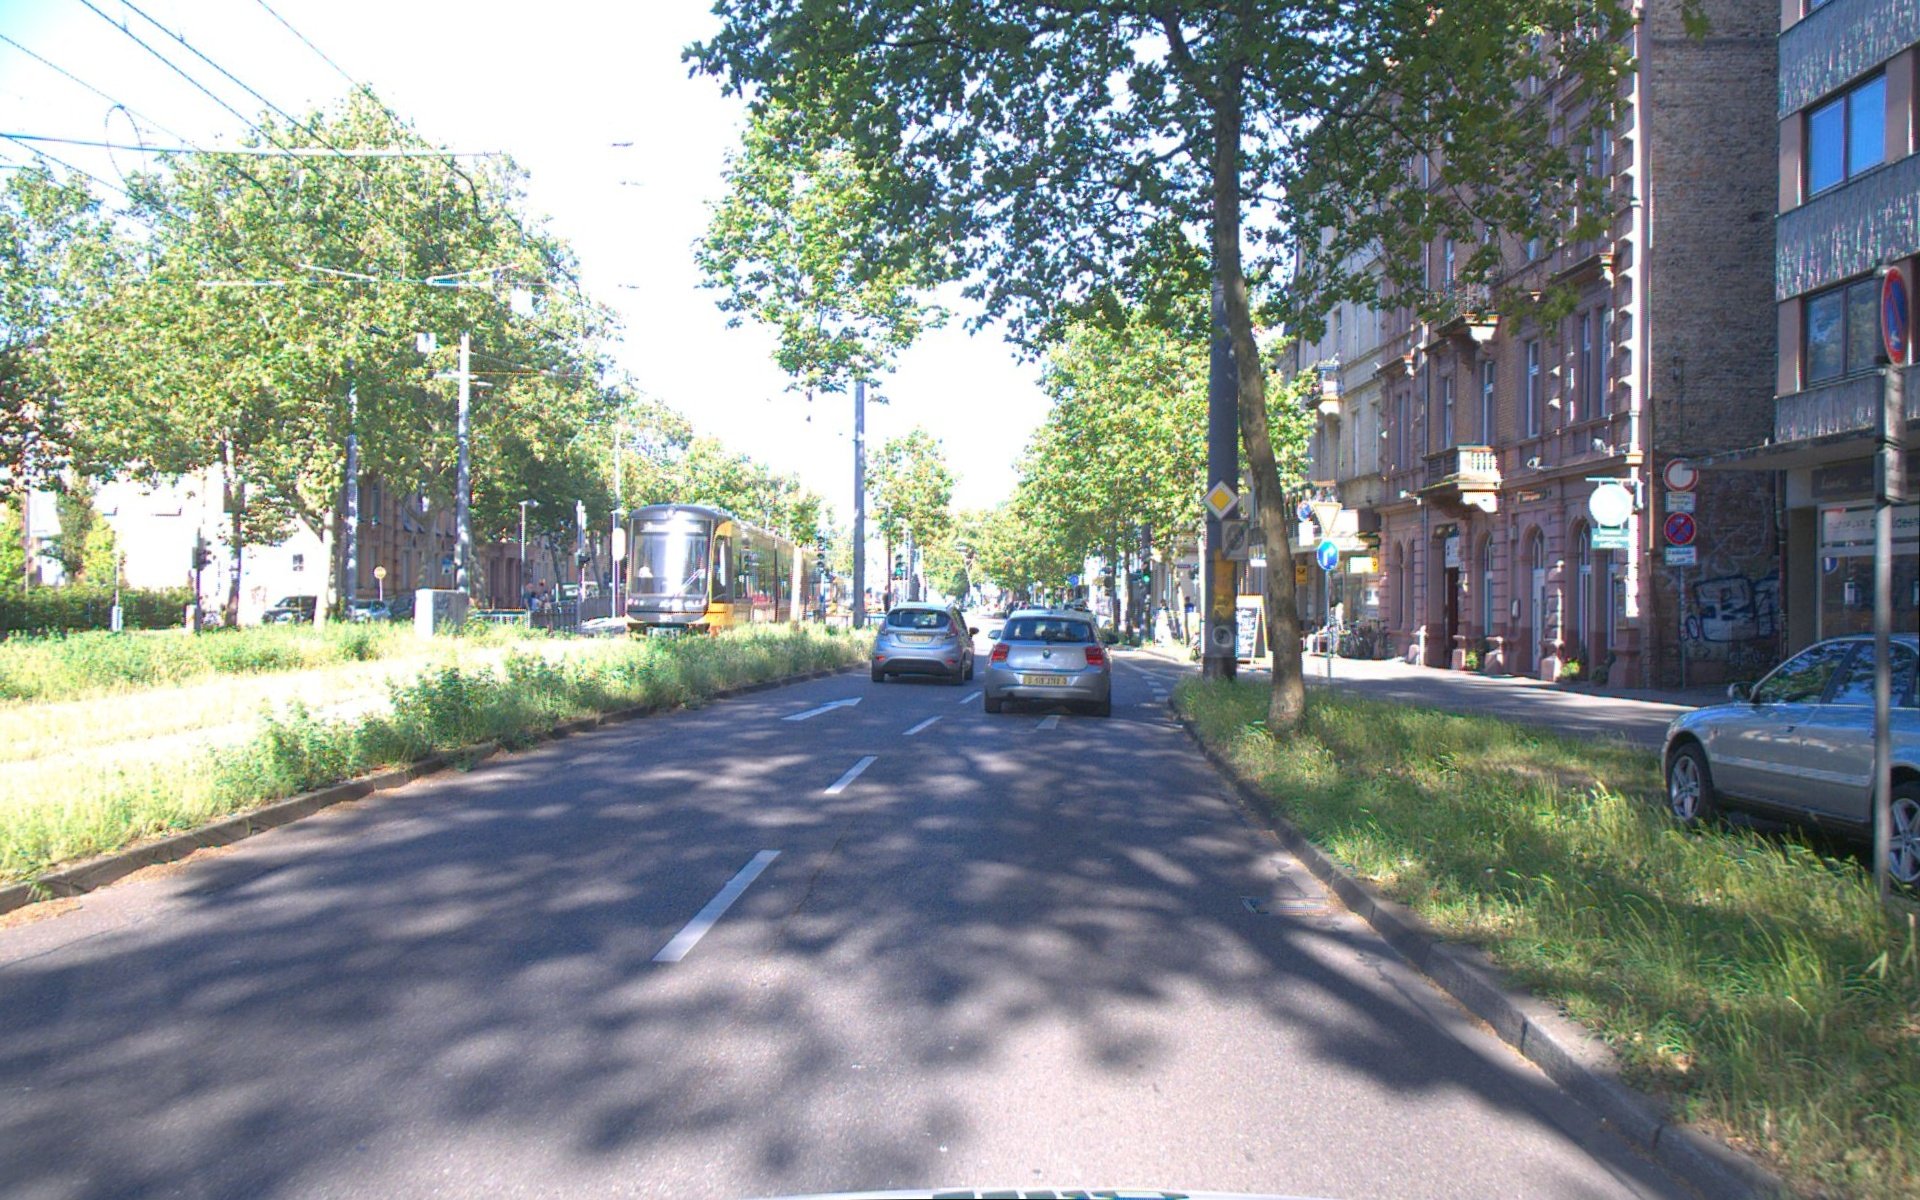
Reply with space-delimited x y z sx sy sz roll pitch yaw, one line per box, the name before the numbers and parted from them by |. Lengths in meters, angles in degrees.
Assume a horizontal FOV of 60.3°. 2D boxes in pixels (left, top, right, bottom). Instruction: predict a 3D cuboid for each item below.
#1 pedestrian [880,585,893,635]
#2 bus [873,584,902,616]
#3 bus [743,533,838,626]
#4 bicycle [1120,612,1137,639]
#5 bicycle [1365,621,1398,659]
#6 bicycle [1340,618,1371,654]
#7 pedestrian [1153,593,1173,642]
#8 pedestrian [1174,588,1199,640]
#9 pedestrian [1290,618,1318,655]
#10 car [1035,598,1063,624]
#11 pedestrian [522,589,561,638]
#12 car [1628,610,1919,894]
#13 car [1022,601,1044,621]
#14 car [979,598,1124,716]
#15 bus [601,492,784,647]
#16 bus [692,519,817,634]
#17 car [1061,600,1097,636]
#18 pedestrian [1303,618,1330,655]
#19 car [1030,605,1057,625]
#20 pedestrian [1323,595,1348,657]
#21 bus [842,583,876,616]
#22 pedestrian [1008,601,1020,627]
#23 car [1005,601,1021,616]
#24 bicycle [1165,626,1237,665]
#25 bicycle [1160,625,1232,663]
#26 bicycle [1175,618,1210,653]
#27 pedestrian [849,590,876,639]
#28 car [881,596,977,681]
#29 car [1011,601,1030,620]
pedestrian | -2.870 0.391 64.811 0.442 1.936 0.584 1 0 -8
bus | -8.709 -0.081 201.010 2.694 3.689 18.845 1 0 0
bus | -6.916 -0.780 69.079 2.810 3.504 11.609 1 0 0
bicycle | 6.662 1.010 65.428 0.419 0.987 1.750 2 1 -1
bicycle | 12.001 1.119 47.130 0.434 1.010 1.688 2 0 -2
bicycle | 11.943 1.072 49.973 0.434 1.010 1.688 2 0 -2
pedestrian | 7.614 0.657 62.072 0.628 1.802 0.869 2 0 5
pedestrian | 9.173 0.558 67.001 0.863 2.048 0.857 2 0 3
pedestrian | 11.403 1.207 54.784 0.762 1.181 0.465 2 0 -26
car | 6.073 0.714 112.966 1.657 1.687 4.039 0 1 -1
pedestrian | -14.359 0.464 56.767 1.154 1.672 0.891 1 -1 -8
car | 5.941 0.861 10.221 1.666 1.449 4.515 2 1 -1
car | 6.350 0.974 144.429 1.635 1.578 4.000 2 1 0
car | 1.237 0.750 23.939 1.726 1.457 3.999 2 1 -1
bus | -6.813 -0.689 44.390 2.810 3.504 13.215 1 0 0
bus | -6.864 -0.725 57.031 2.810 3.504 12.213 1 0 0
car | 6.985 1.025 97.606 1.719 1.999 4.736 1 0 -1
pedestrian | 11.685 1.201 54.224 0.634 1.181 0.609 2 0 -12
car | 6.996 1.260 139.178 1.953 1.535 4.597 2 -1 0
pedestrian | 11.303 0.778 49.745 0.459 1.842 0.772 2 0 31
bus | -12.297 -0.125 203.642 2.810 3.692 24.601 1 0 0
pedestrian | 4.313 1.099 131.484 0.820 2.048 0.649 2 0 6
car | 5.969 0.955 186.549 1.666 1.561 3.716 2 1 0
bicycle | 6.918 1.297 47.474 1.963 1.010 0.444 2 0 -3
bicycle | 6.856 1.286 48.041 1.974 1.010 0.444 2 0 -3
bicycle | 7.225 1.096 51.446 0.435 1.010 1.682 2 1 -15
pedestrian | -3.881 0.574 65.855 1.051 1.949 1.126 1 0 -3
car | -0.550 0.671 30.811 1.613 1.386 3.759 2 1 0
car | 6.248 1.078 170.152 1.689 1.913 3.999 2 0 0
